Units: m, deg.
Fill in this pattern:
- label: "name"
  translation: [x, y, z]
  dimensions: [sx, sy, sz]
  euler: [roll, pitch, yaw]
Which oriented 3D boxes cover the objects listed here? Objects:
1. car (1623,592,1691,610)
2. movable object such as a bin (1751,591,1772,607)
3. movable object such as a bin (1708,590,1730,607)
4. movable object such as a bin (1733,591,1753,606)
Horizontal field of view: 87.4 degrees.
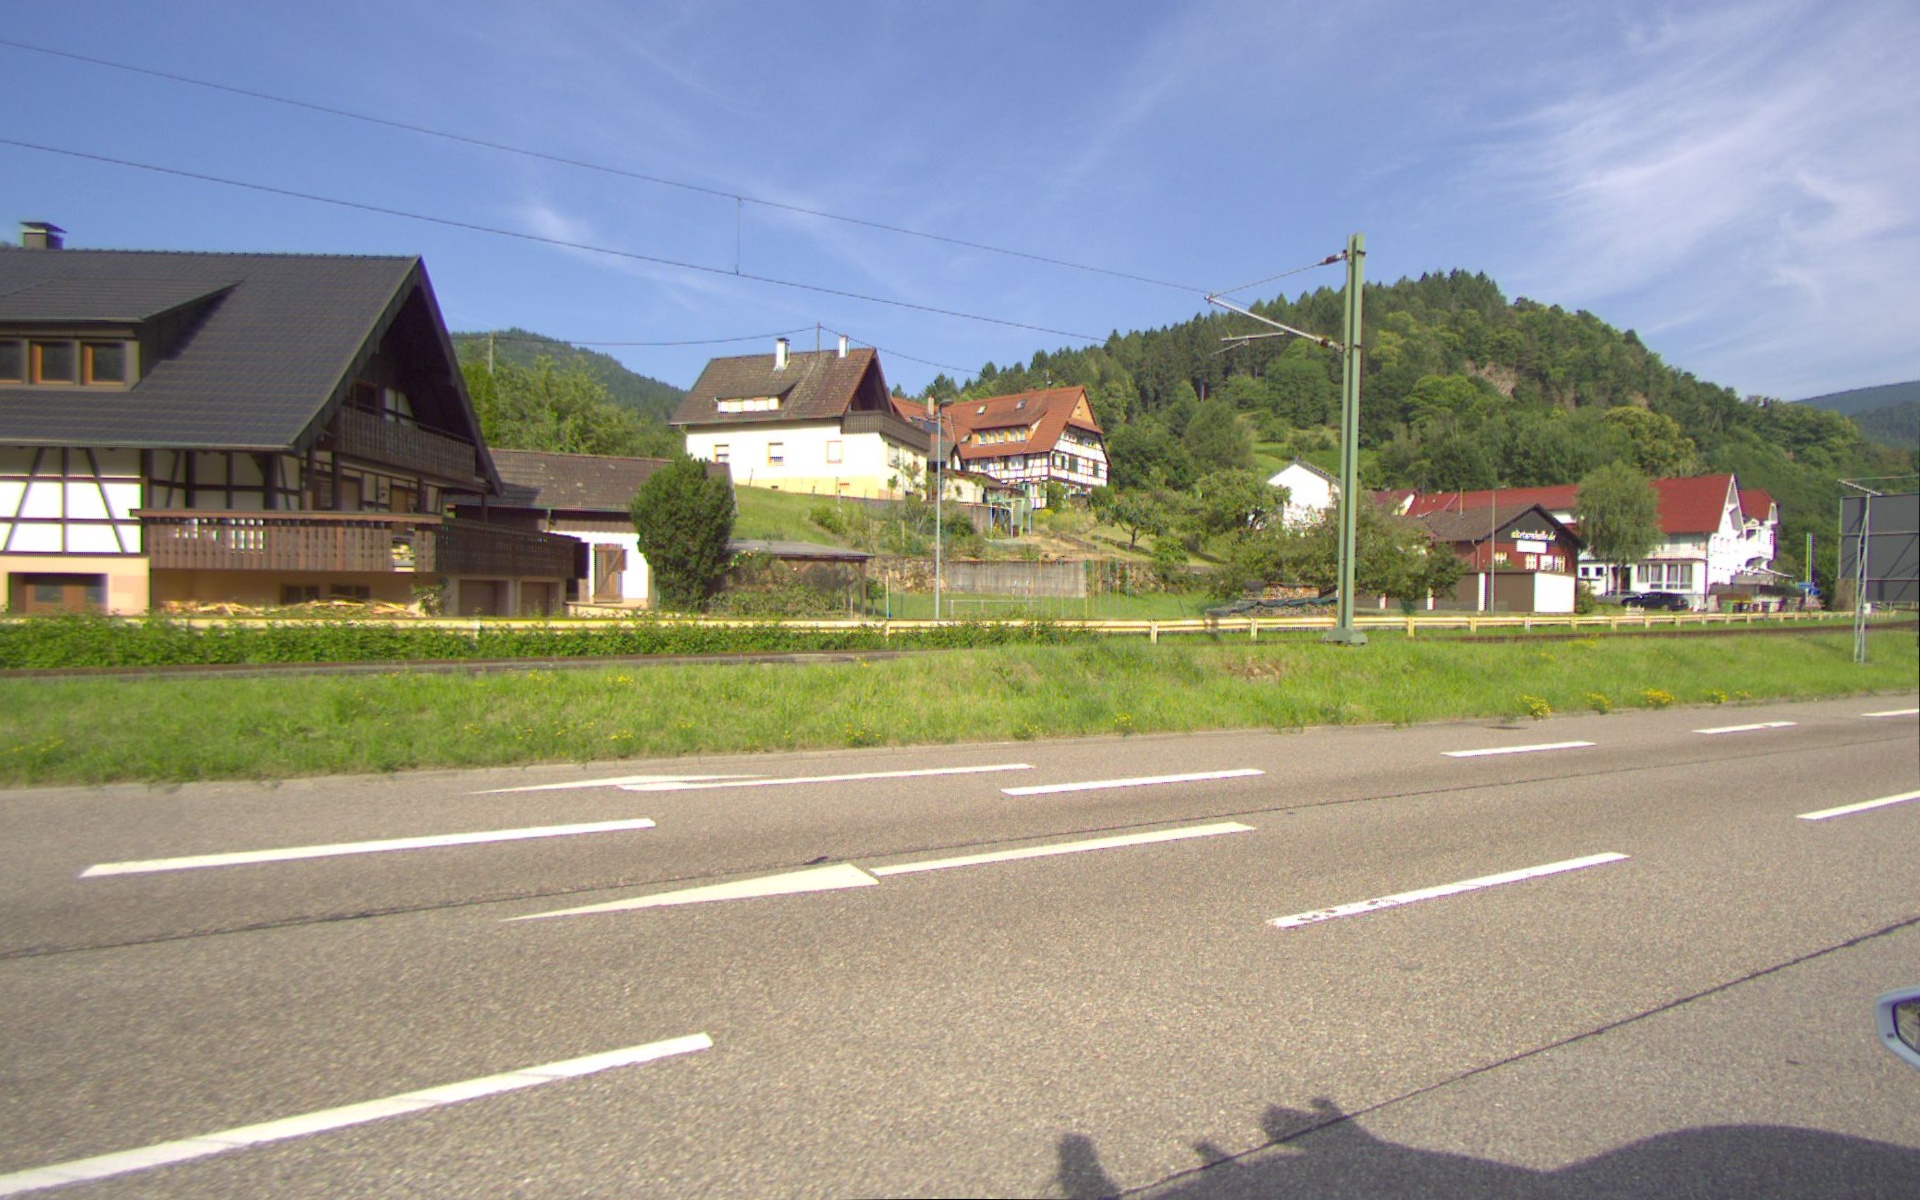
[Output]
- label: "car"
  translation: [54.780, 0.087, 78.955]
  dimensions: [1.722, 1.287, 4.061]
  euler: [0, 1, -39]
- label: "movable object such as a bin"
  translation: [63.982, -0.101, 80.180]
  dimensions: [1.134, 1.208, 1.080]
  euler: [1, 1, -41]
- label: "movable object such as a bin"
  translation: [54.388, -0.110, 71.956]
  dimensions: [1.127, 1.208, 1.087]
  euler: [2, 1, 43]
- label: "movable object such as a bin"
  translation: [63.159, -0.114, 80.994]
  dimensions: [1.134, 1.208, 1.080]
  euler: [1, 1, -41]
